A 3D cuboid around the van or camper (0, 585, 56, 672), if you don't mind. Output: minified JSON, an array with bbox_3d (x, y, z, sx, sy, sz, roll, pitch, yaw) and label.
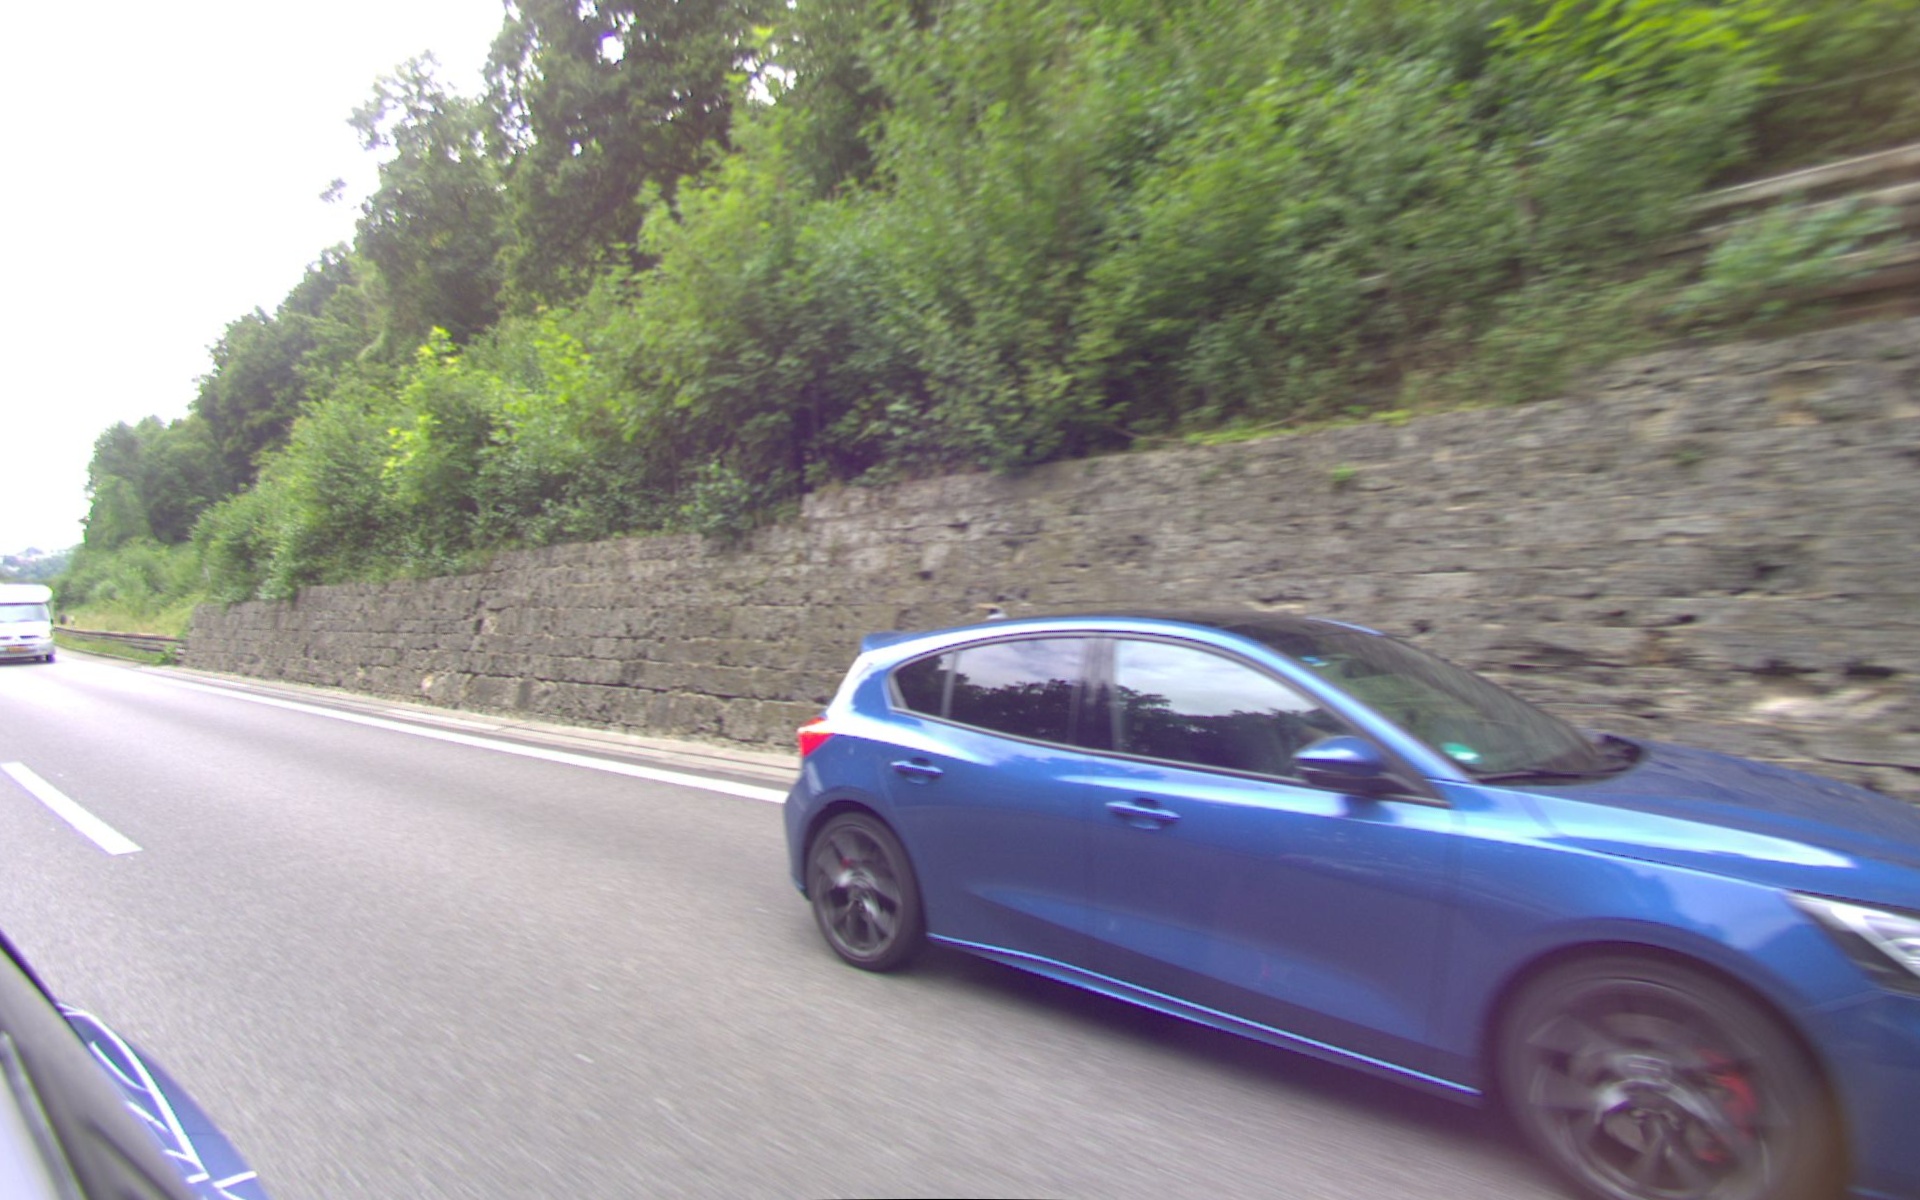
[{"bbox_3d":[-32.922,0.968,34.780,7.025,2.755,2.240,-2,-1,44],"label":"van or camper"}]

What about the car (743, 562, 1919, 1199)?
[{"bbox_3d":[1.357,0.672,3.633,4.553,1.480,1.817,-1,0,41],"label":"car"}]
